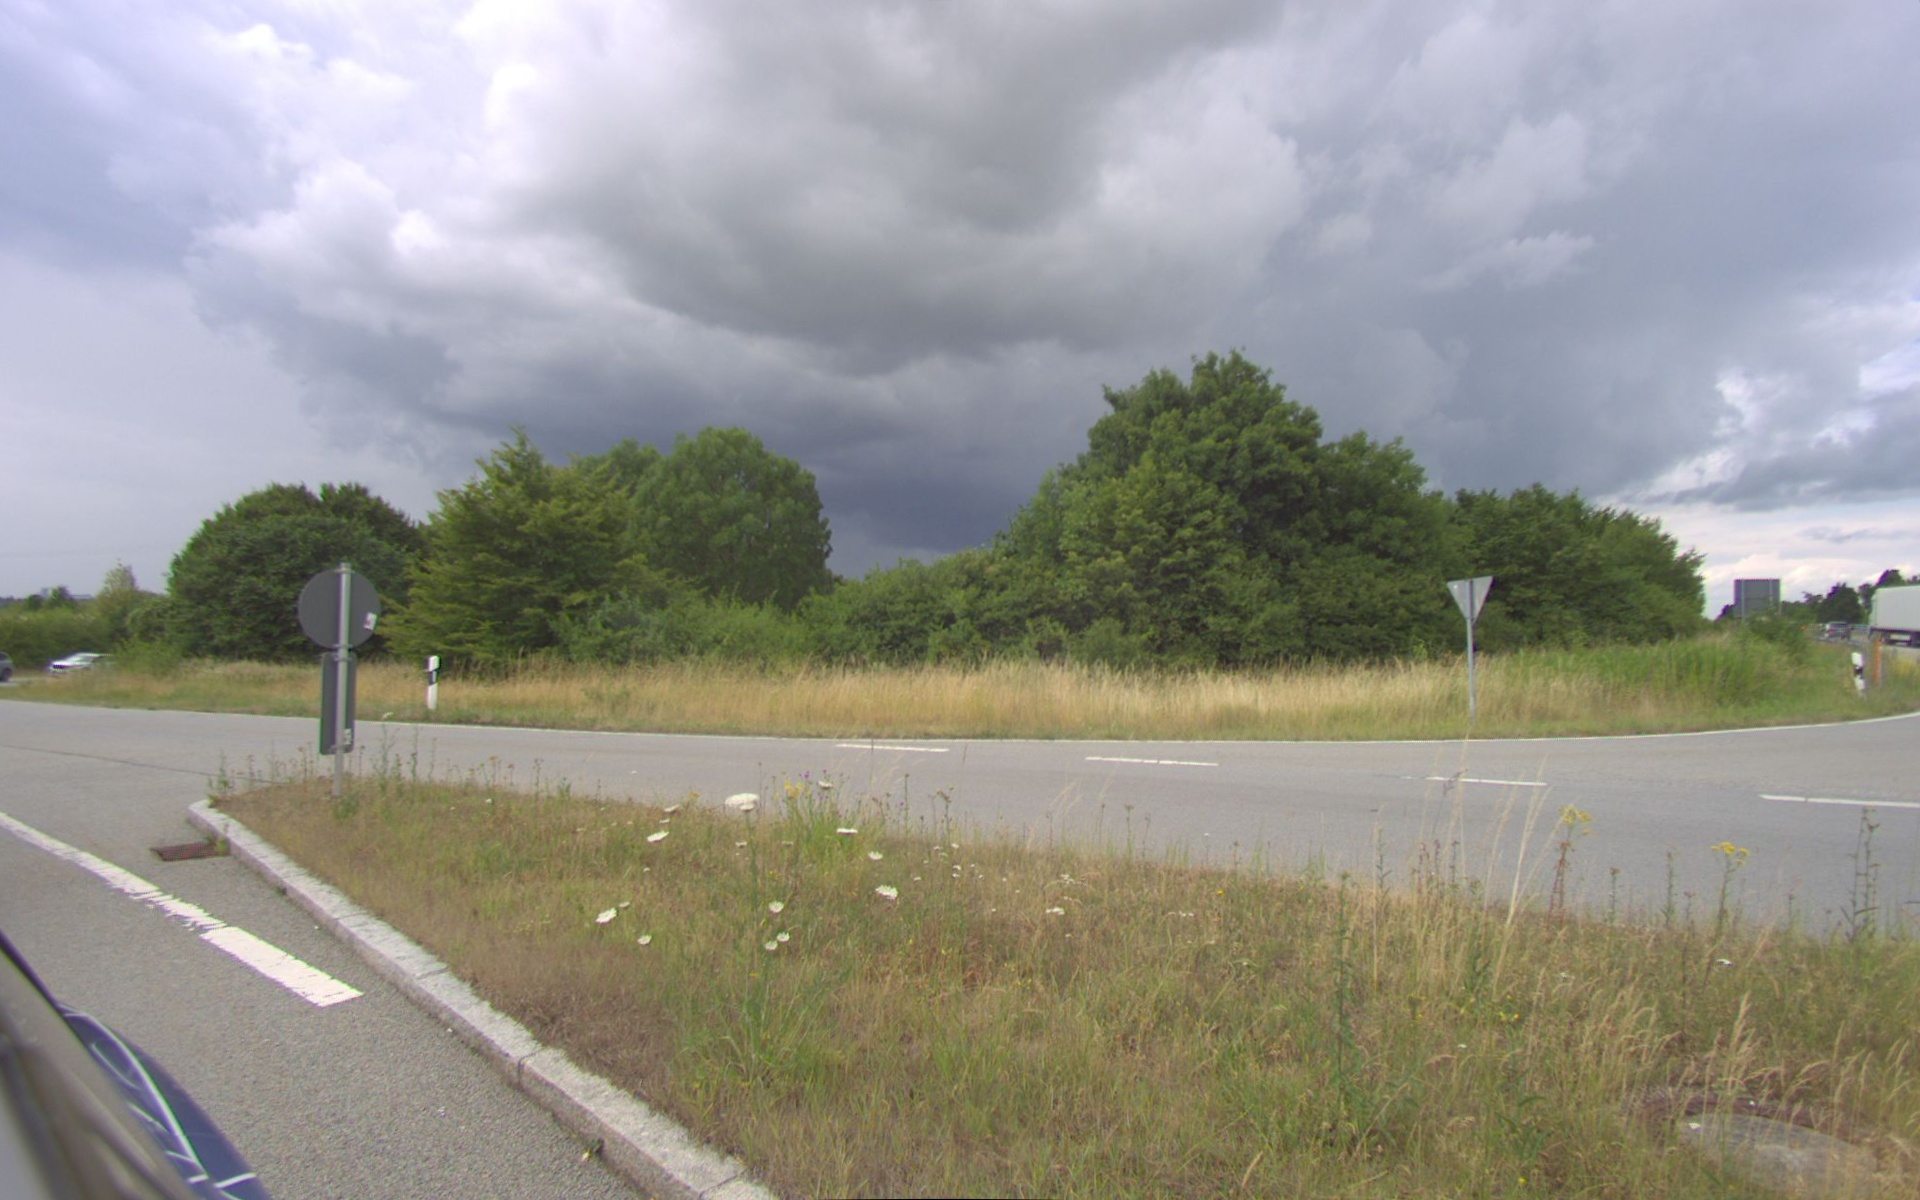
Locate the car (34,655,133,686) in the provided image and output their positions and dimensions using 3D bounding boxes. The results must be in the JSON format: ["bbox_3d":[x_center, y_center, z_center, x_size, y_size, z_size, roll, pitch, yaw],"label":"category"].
[{"bbox_3d":[-54.845,4.386,63.469,1.969,1.732,5.215,3,-3,-6],"label":"car"}]

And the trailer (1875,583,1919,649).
[{"bbox_3d":[63.231,1.120,65.733,3.119,4.044,13.735,1,-1,32],"label":"trailer"}]

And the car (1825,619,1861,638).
[{"bbox_3d":[81.373,2.650,93.317,1.995,1.614,4.175,-1,-3,34],"label":"car"}]

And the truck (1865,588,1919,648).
[{"bbox_3d":[66.547,1.284,71.119,3.119,4.044,7.227,1,-1,32],"label":"truck"}]

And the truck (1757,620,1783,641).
[{"bbox_3d":[104.319,3.930,130.396,2.061,2.724,5.973,-1,-2,34],"label":"truck"}]

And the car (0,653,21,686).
[{"bbox_3d":[-53.130,3.710,53.929,1.968,1.732,5.219,3,-3,-10],"label":"car"}]
